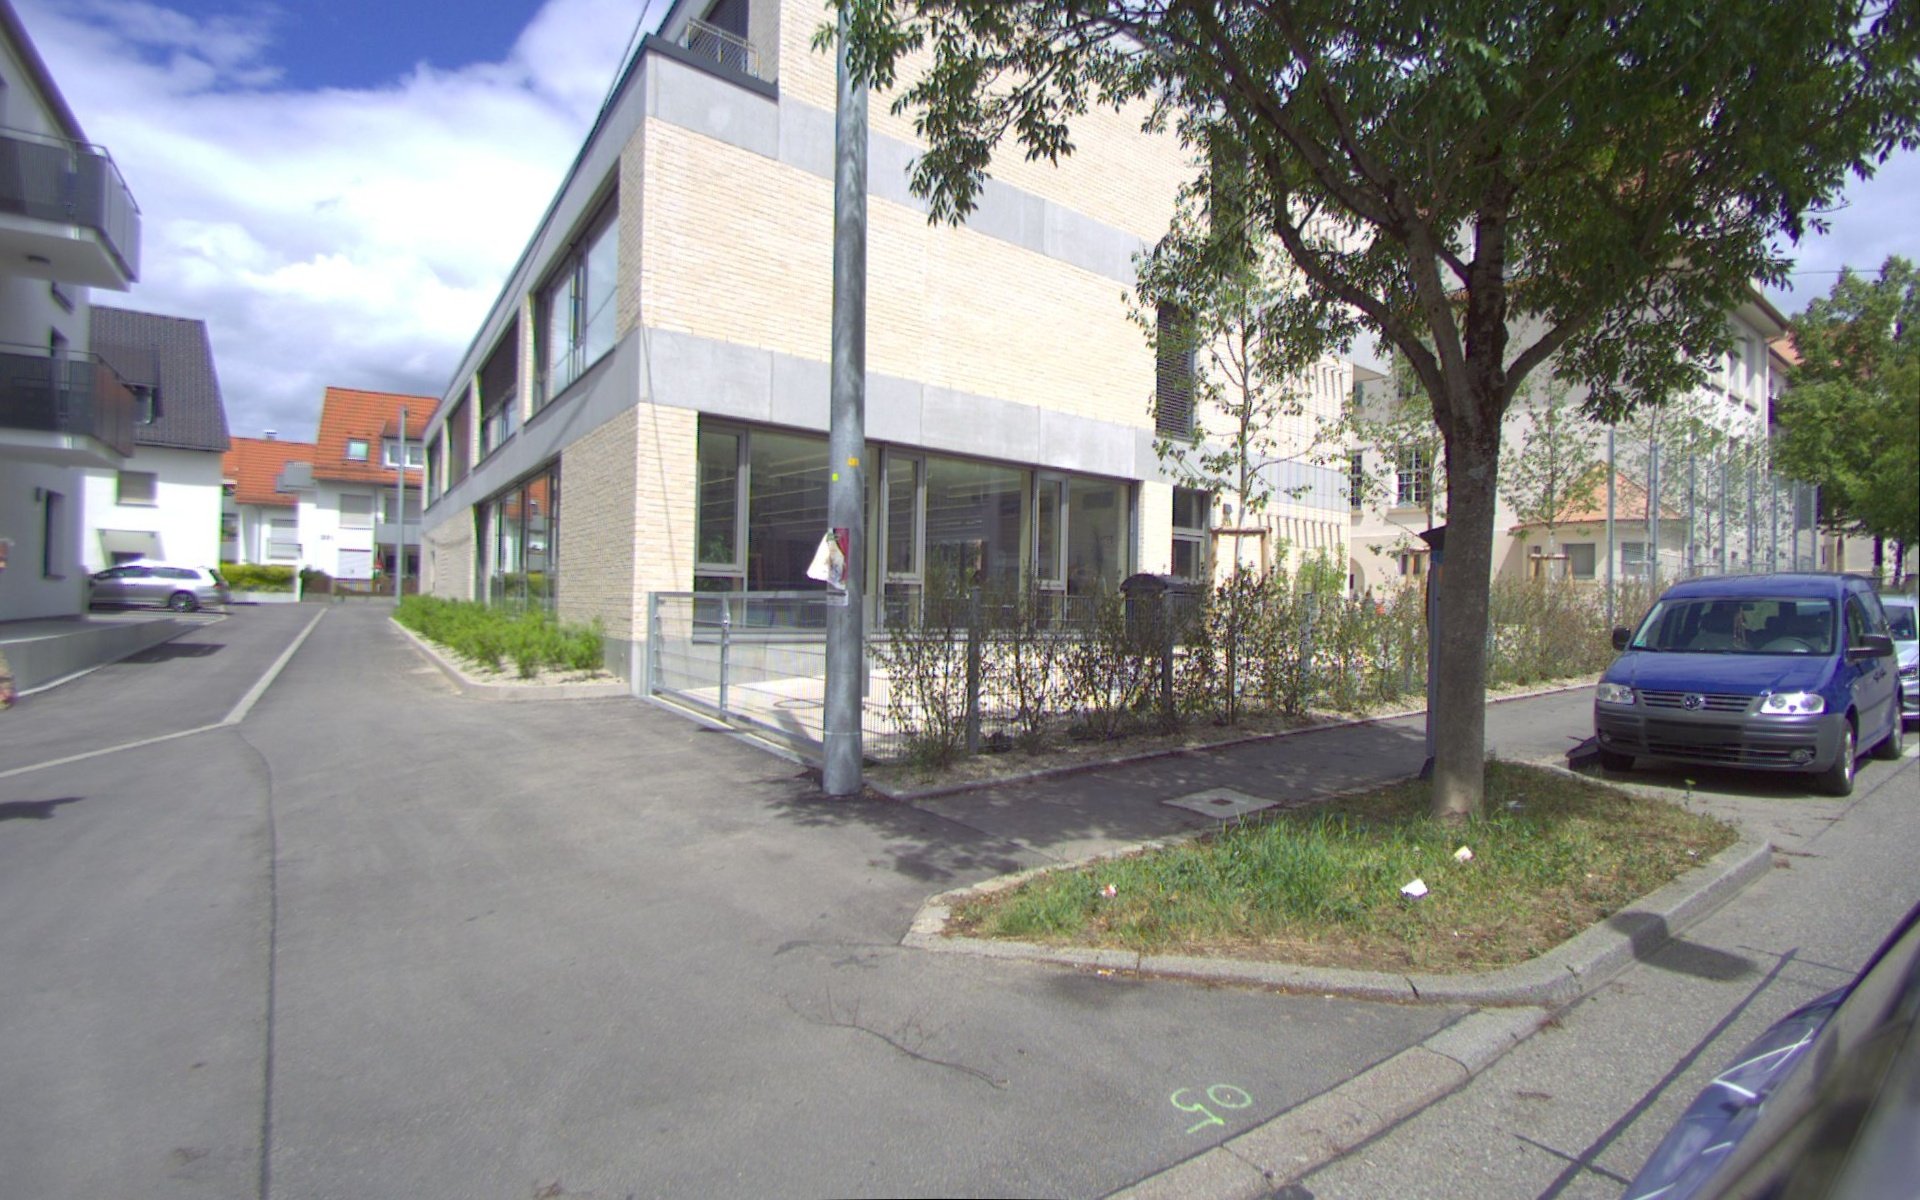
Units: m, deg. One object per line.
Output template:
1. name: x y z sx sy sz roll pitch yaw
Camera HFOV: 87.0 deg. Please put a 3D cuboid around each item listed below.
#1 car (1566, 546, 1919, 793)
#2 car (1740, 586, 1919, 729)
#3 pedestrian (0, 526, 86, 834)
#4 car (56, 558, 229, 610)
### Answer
1. car: 7.520 0.460 9.467 4.436 1.790 1.848 -1 1 -40
2. car: 11.679 0.603 12.984 4.288 1.528 1.789 -1 1 -40
3. pedestrian: -5.572 0.424 5.723 0.725 1.668 0.616 0 1 -1
4. car: -24.758 -0.487 30.839 3.922 1.504 1.785 0 1 -32
